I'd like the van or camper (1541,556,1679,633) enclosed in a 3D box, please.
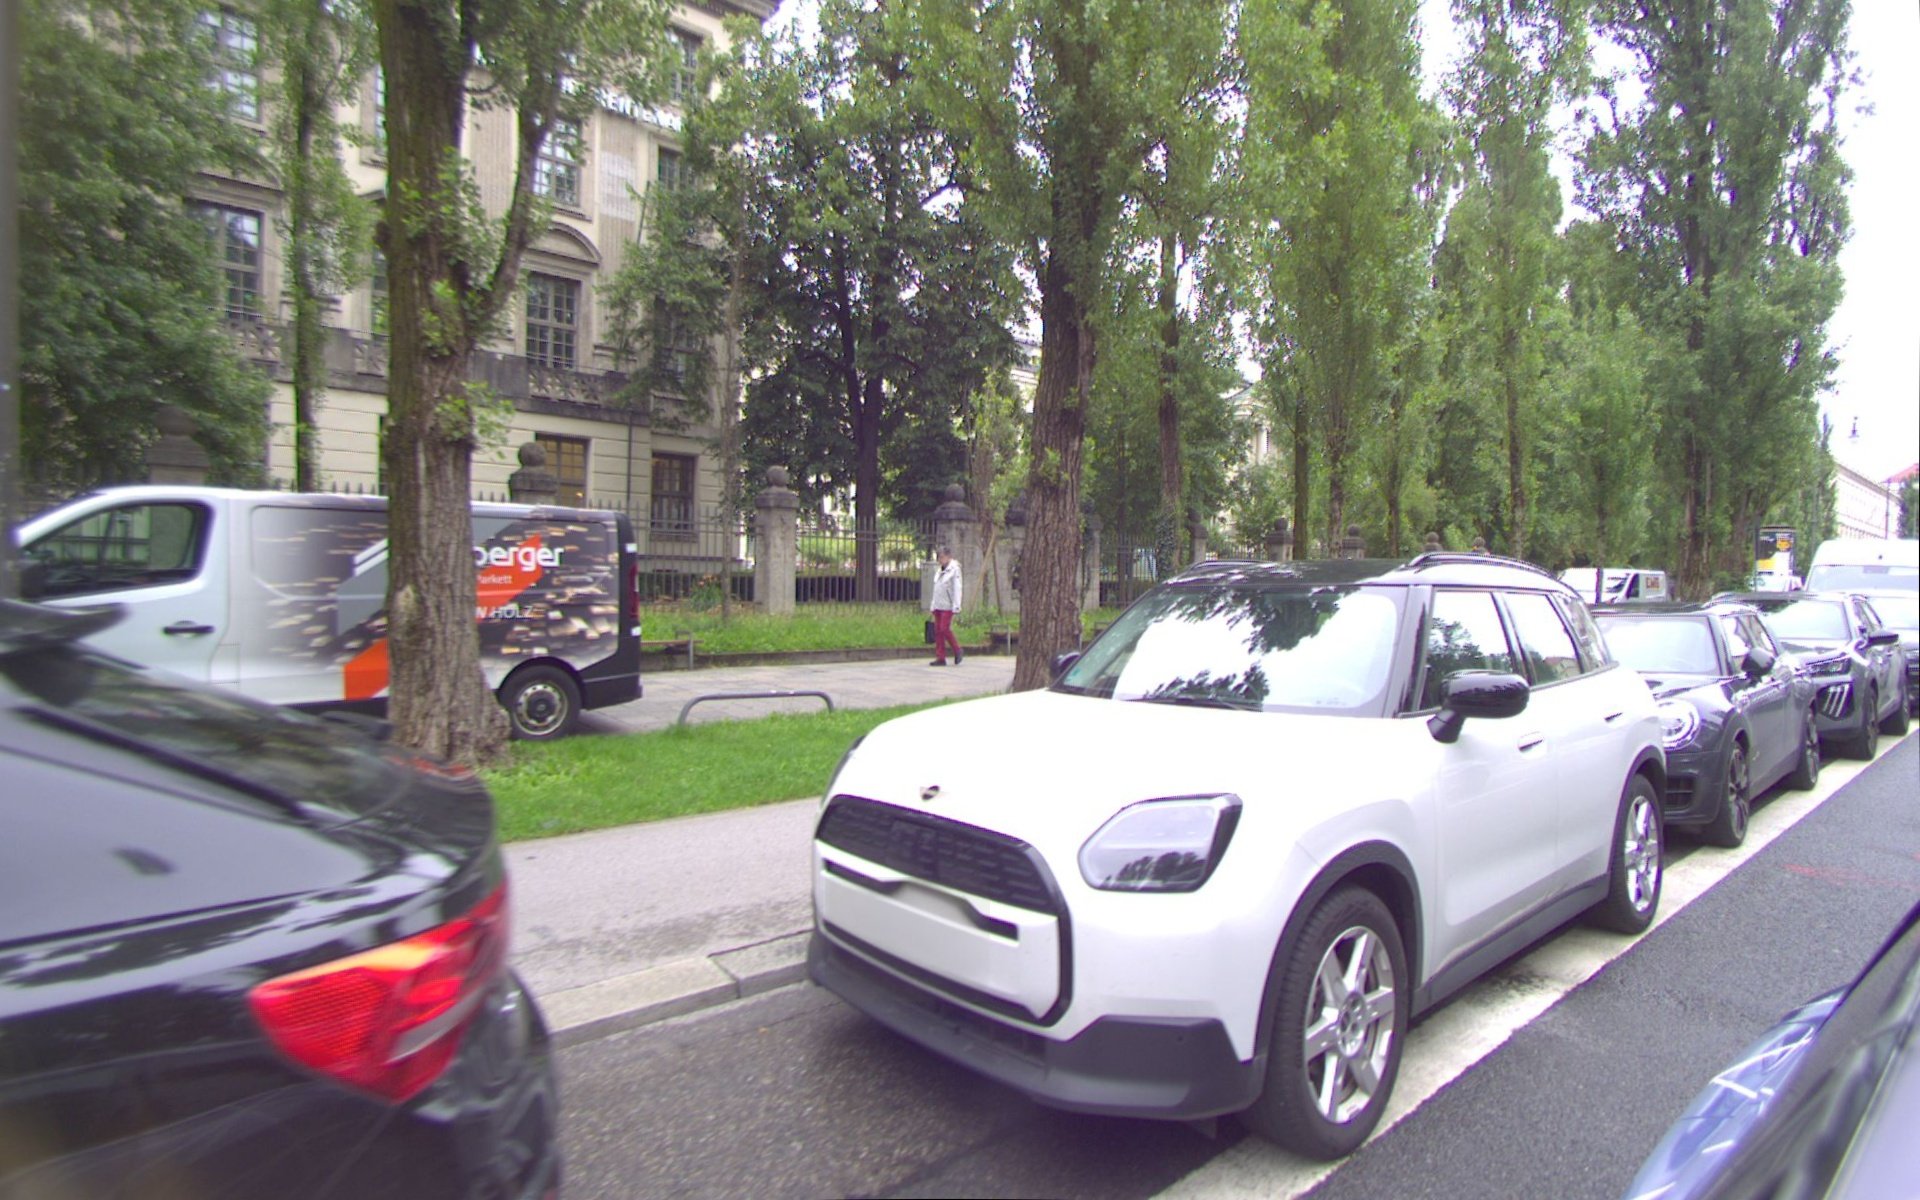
[{"bbox_3d":[18.237,-0.166,28.299,4.951,1.958,1.978,0,1,-42],"label":"van or camper"}]

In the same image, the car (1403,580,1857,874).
[{"bbox_3d":[5.095,0.666,7.446,4.220,1.538,1.706,0,2,-41],"label":"car"}]

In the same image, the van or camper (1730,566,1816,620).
[{"bbox_3d":[32.780,-0.295,40.751,4.901,2.039,2.006,0,1,-43],"label":"van or camper"}]

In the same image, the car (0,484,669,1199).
[{"bbox_3d":[-2.655,0.641,0.603,4.385,1.560,1.884,0,2,-40],"label":"car"}]

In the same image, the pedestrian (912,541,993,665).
[{"bbox_3d":[-0.116,0.023,15.208,0.879,1.790,0.797,0,2,-38],"label":"pedestrian"}]

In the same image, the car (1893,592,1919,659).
[{"bbox_3d":[22.359,0.559,22.753,3.932,1.437,1.679,0,2,-43],"label":"car"}]

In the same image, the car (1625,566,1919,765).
[{"bbox_3d":[8.740,0.523,10.587,4.557,1.638,1.787,0,2,-41],"label":"car"}]

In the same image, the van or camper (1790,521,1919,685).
[{"bbox_3d":[17.101,0.011,18.314,6.305,2.571,2.143,0,2,-41],"label":"van or camper"}]

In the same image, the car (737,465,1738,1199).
[{"bbox_3d":[1.536,0.550,4.151,4.500,1.696,1.746,0,2,-41],"label":"car"}]

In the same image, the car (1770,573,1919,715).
[{"bbox_3d":[12.679,0.515,13.908,4.343,1.669,1.787,0,2,-43],"label":"car"}]

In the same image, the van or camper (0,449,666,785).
[{"bbox_3d":[-5.168,0.079,7.654,5.274,1.958,2.080,0,1,-41],"label":"van or camper"}]

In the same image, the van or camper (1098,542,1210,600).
[{"bbox_3d":[9.624,-1.464,50.548,2.210,2.739,5.220,0,2,-40],"label":"van or camper"}]
